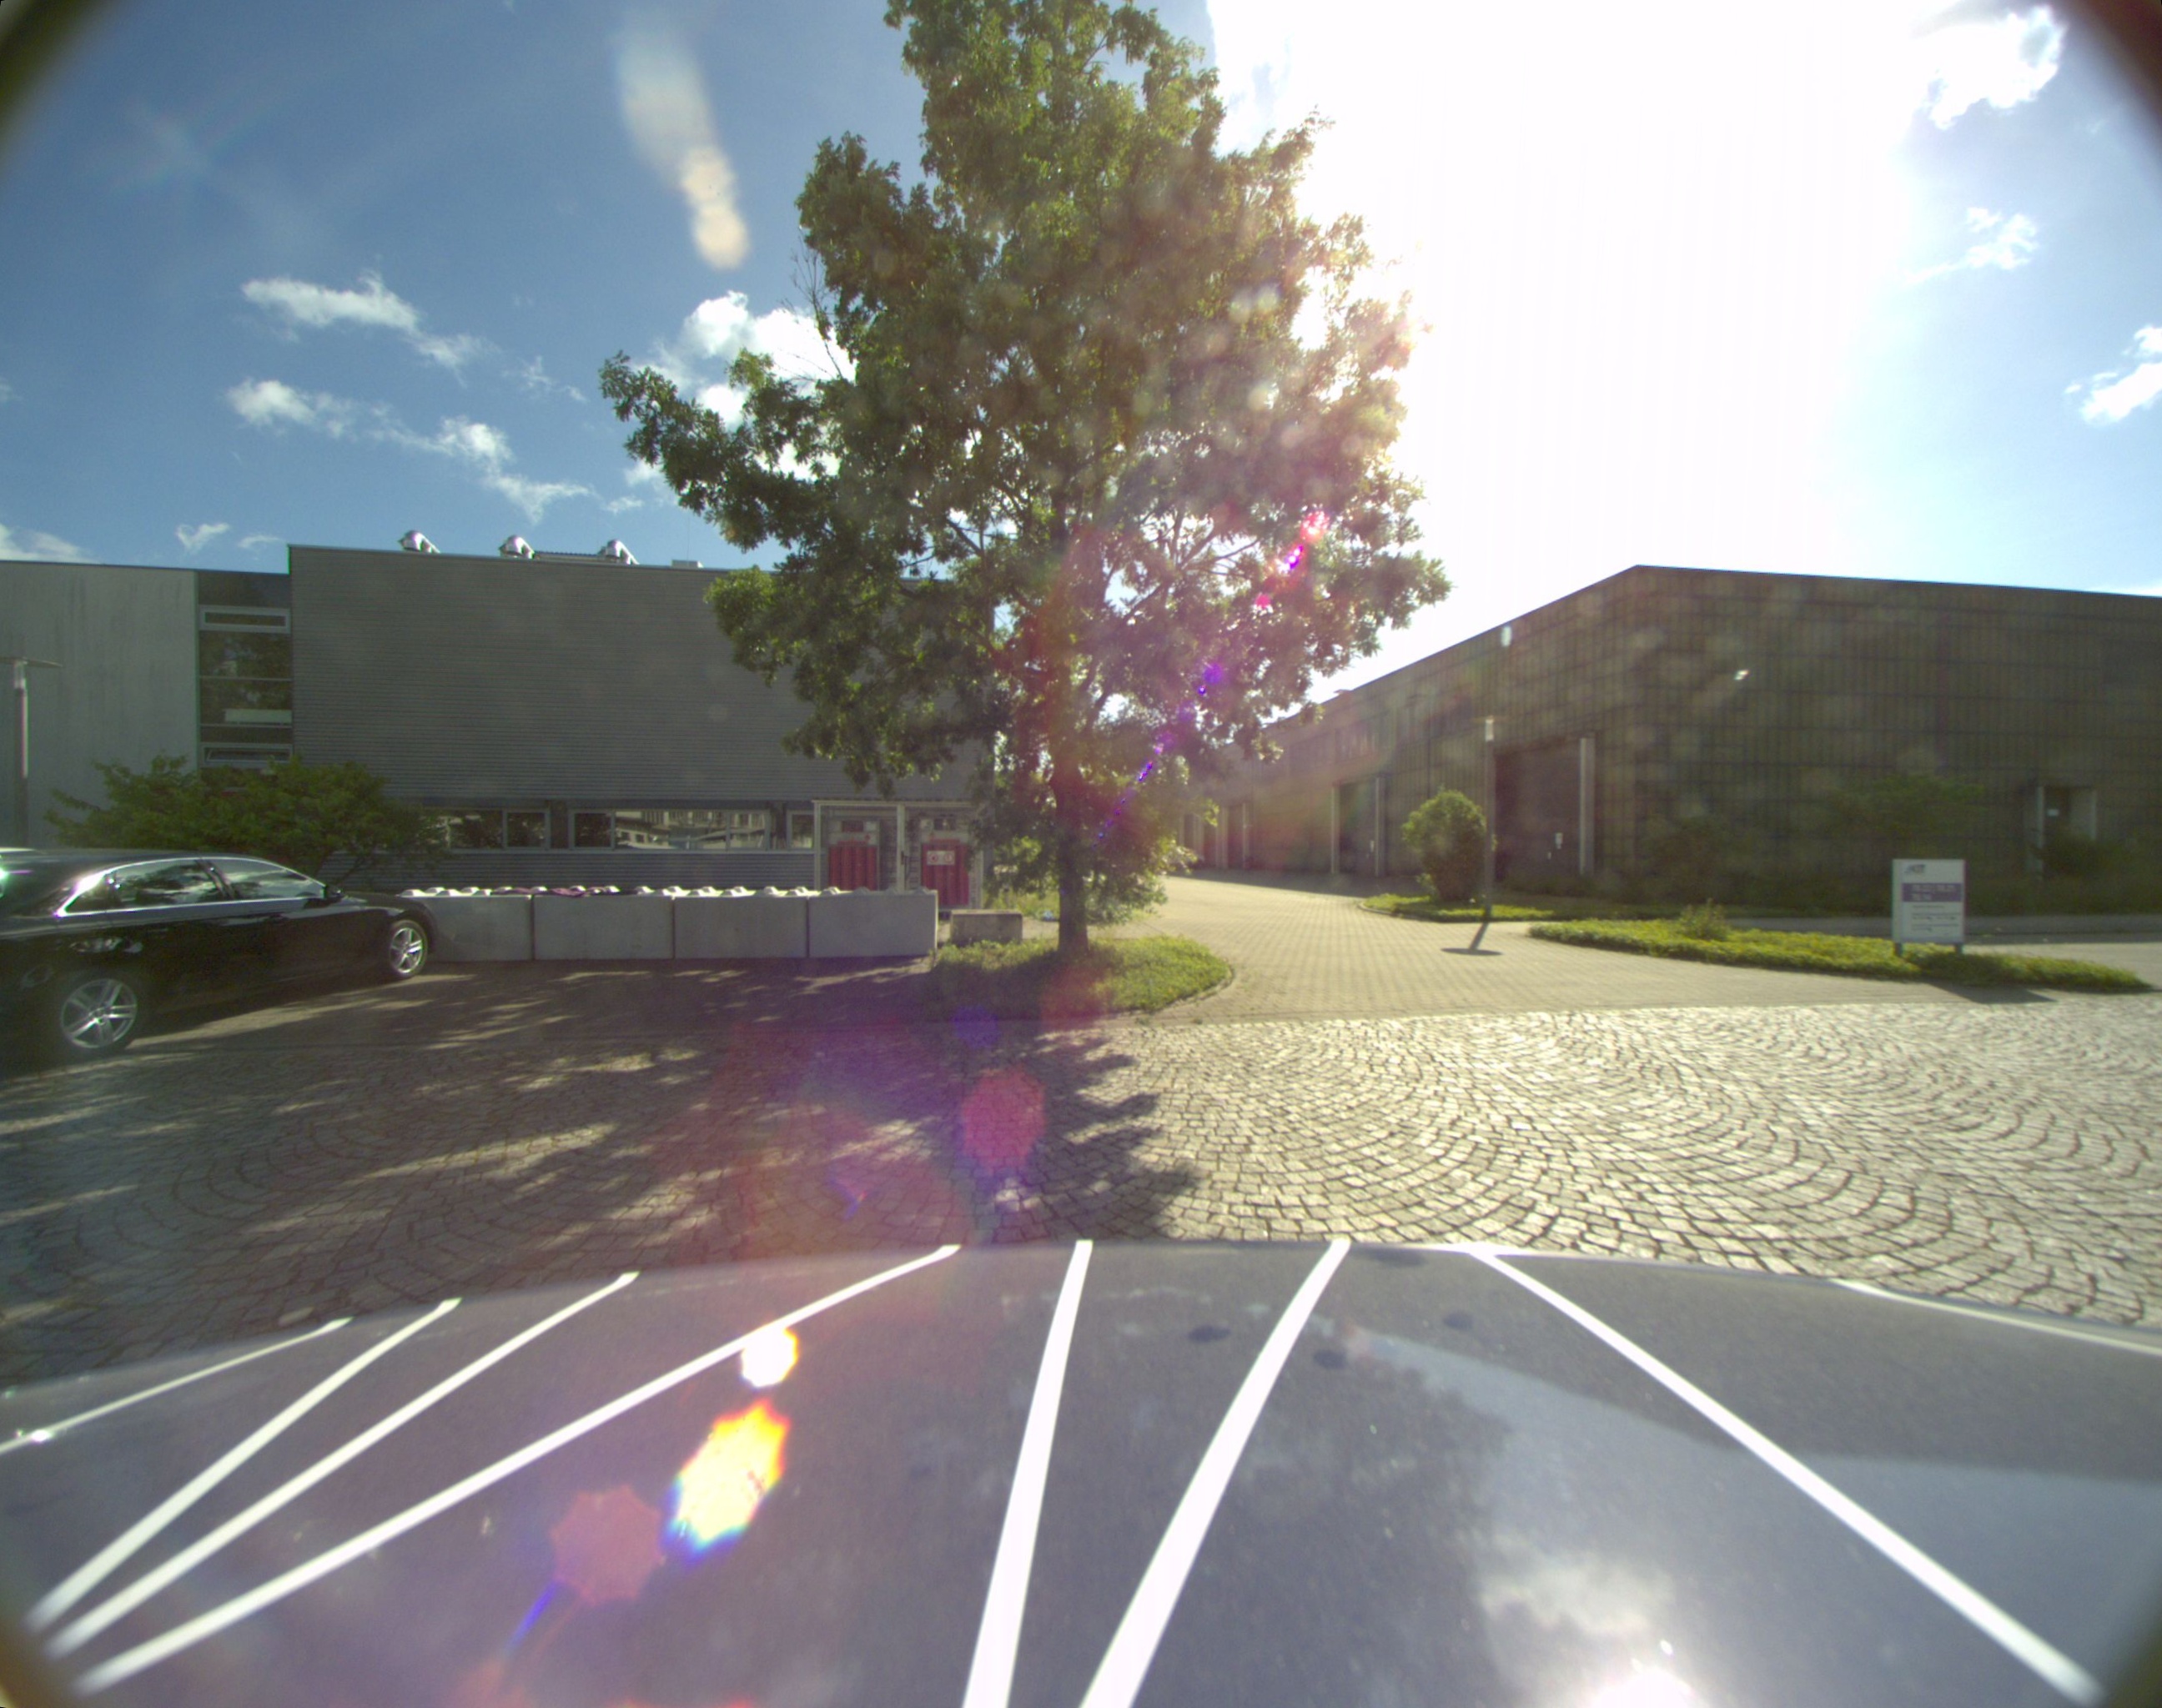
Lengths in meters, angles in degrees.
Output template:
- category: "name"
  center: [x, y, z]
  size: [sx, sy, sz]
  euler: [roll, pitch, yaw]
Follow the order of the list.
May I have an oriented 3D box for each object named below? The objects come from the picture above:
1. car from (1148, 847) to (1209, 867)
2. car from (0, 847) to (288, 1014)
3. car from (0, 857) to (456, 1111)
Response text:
- category: "car"
  center: [7.984, 0.243, 62.301]
  size: [4.580, 1.653, 1.998]
  euler: [0, 1, -9]
- category: "car"
  center: [-10.649, 0.701, 7.341]
  size: [1.690, 1.452, 4.149]
  euler: [0, 2, -3]
- category: "car"
  center: [-7.791, 0.815, 6.348]
  size: [1.757, 1.415, 4.729]
  euler: [0, 2, -9]
